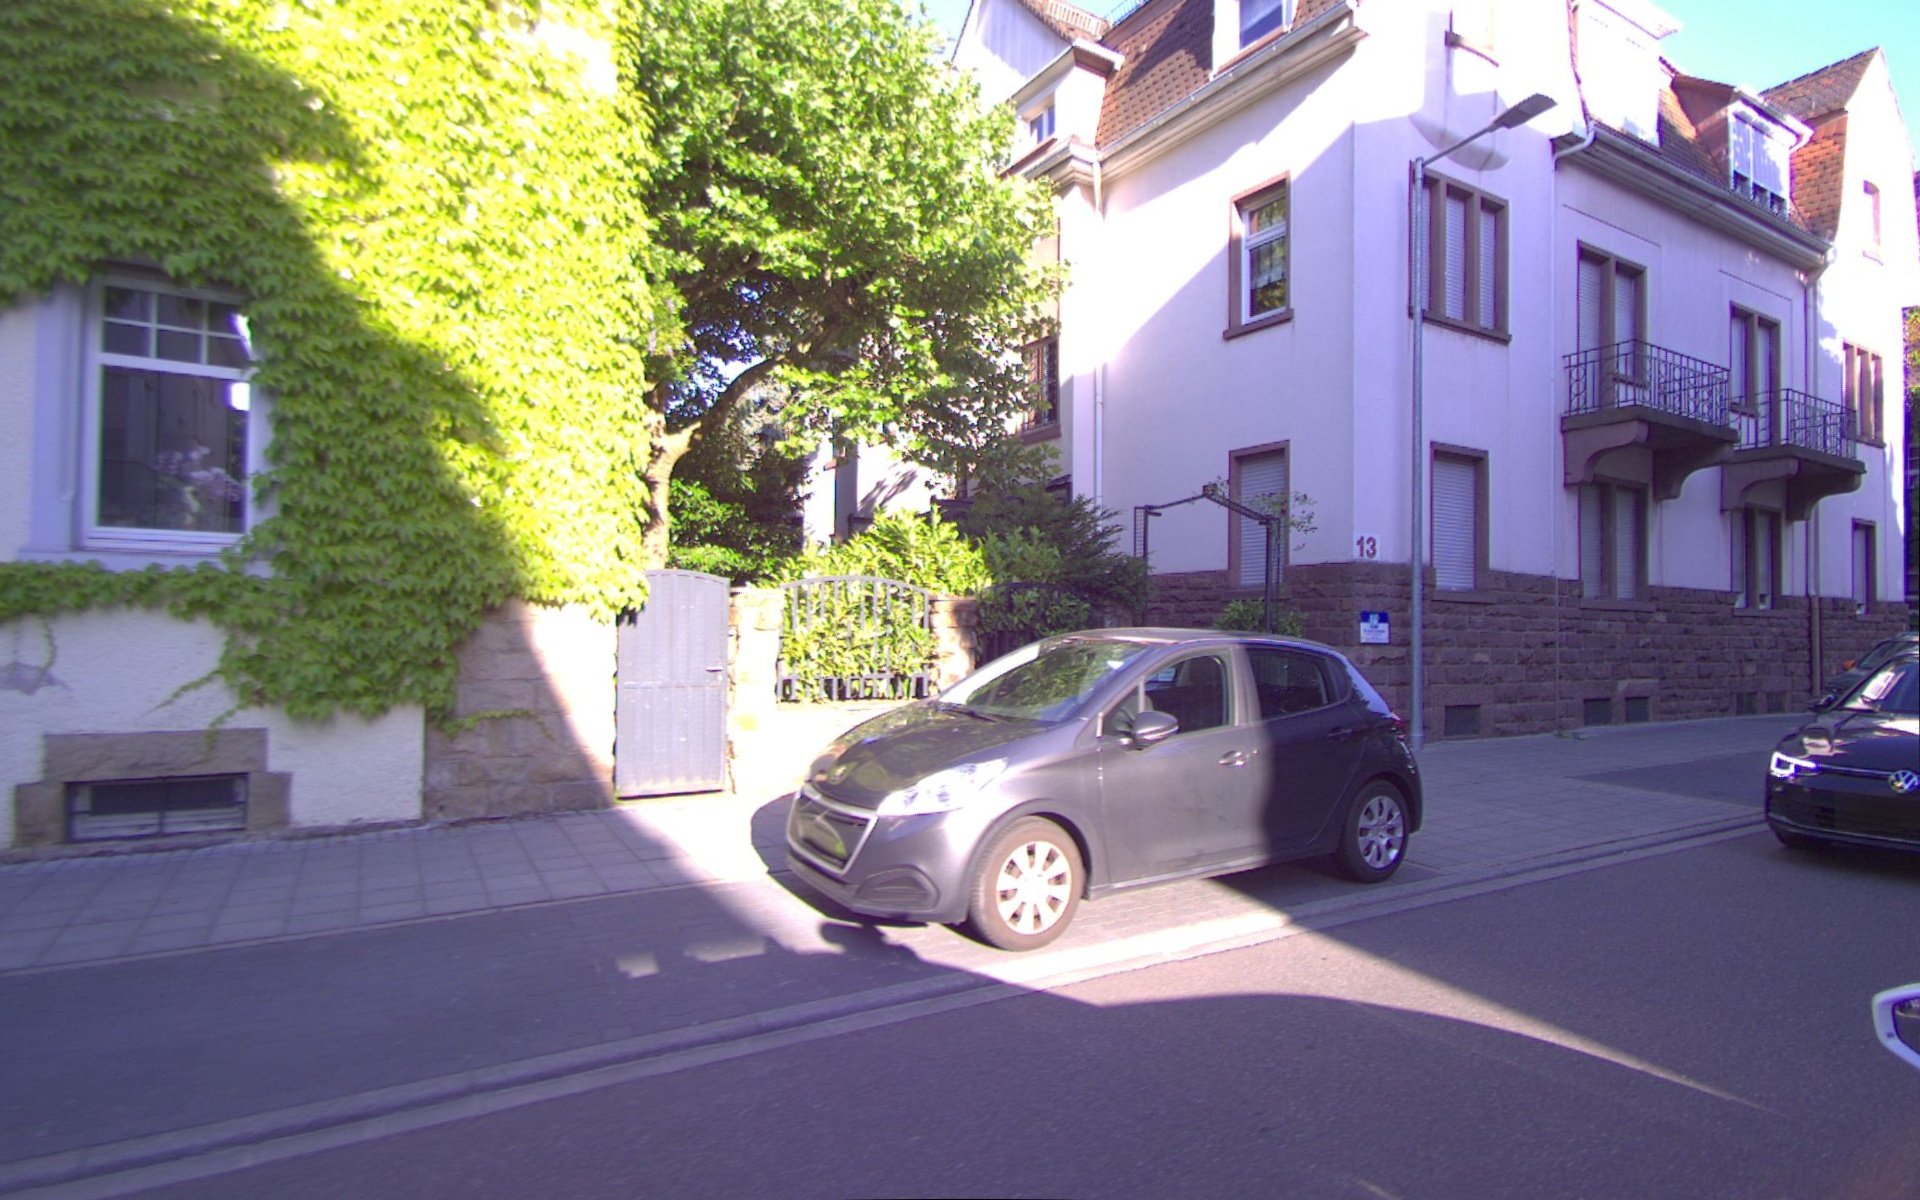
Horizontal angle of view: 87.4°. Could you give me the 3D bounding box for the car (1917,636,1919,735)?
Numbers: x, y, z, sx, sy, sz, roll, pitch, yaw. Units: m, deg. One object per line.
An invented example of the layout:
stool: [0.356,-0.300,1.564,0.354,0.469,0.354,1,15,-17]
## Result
car: [16.340,1.317,15.363,3.803,1.466,1.644,2,-1,-33]

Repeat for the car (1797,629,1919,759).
car: [12.748,1.161,13.120,3.721,1.505,1.645,1,-1,-31]

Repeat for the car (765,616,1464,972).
car: [1.024,0.866,5.938,3.959,1.466,1.645,2,-1,-31]

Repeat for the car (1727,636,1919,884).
car: [7.332,0.987,7.062,3.954,1.467,1.763,1,-2,-31]
